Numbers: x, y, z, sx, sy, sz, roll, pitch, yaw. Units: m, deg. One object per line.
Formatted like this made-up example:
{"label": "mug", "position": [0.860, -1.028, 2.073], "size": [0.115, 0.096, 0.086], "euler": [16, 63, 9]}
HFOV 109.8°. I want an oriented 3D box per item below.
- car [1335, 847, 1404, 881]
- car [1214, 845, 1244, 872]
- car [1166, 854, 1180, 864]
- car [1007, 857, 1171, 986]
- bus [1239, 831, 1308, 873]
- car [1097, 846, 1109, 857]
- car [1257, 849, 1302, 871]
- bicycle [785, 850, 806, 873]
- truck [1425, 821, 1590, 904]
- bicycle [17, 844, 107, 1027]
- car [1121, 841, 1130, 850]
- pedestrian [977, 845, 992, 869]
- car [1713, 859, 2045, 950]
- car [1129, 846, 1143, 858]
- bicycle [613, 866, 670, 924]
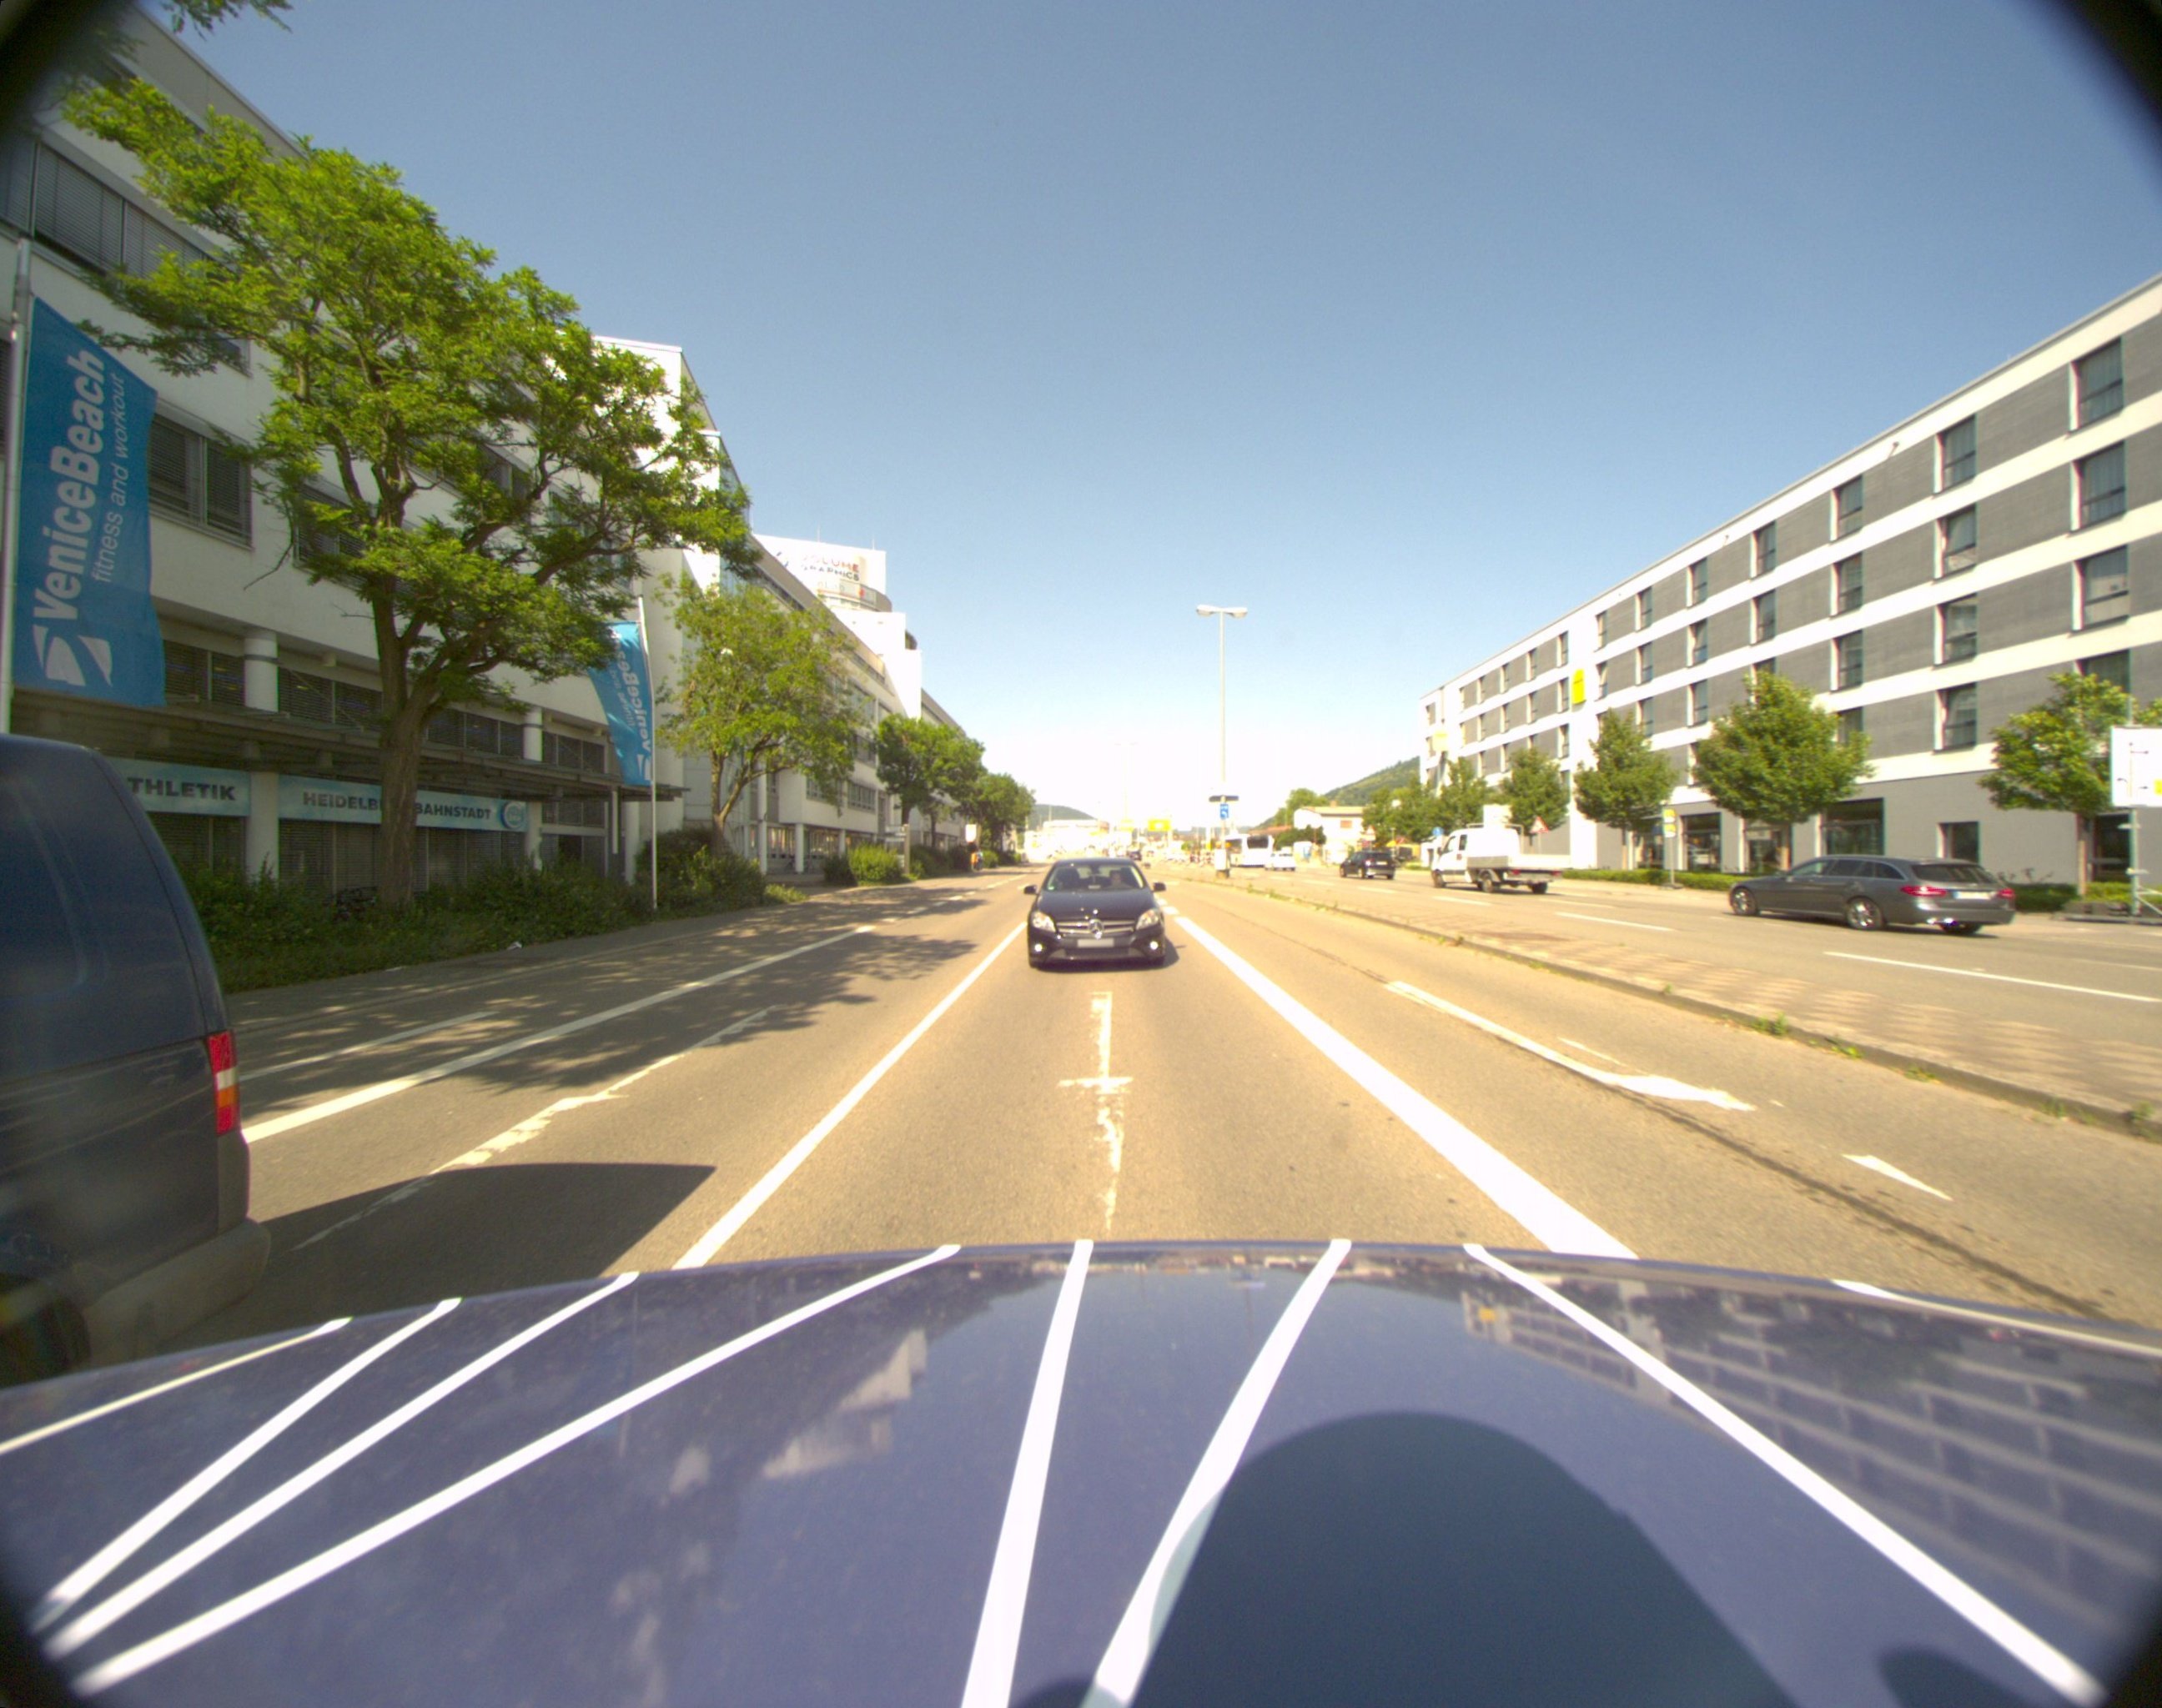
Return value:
{"label": "car", "position": [15.423, 0.494, 40.882], "size": [1.999, 1.569, 4.411], "euler": [-2, 2, 0]}
{"label": "car", "position": [12.105, 0.321, 62.300], "size": [1.679, 2.002, 4.164], "euler": [-2, 1, 2]}
{"label": "car", "position": [15.563, 0.877, 128.175], "size": [1.719, 1.609, 3.590], "euler": [-1, 1, -4]}
{"label": "car", "position": [0.163, 0.804, 11.214], "size": [1.905, 1.431, 4.693], "euler": [0, 1, 2]}
{"label": "bus", "position": [15.533, -0.251, 62.384], "size": [2.745, 3.061, 11.974], "euler": [1, 1, 1]}
{"label": "car", "position": [3.997, -0.471, 139.401], "size": [1.998, 2.002, 4.000], "euler": [-2, 1, 3]}
{"label": "car", "position": [15.277, 0.443, 58.731], "size": [1.999, 1.477, 4.410], "euler": [2, 1, -4]}
{"label": "bicycle", "position": [-16.849, 0.420, 44.875], "size": [0.506, 1.346, 1.884], "euler": [0, 1, 2]}
{"label": "truck", "position": [15.270, 0.143, 27.850], "size": [2.363, 2.531, 6.435], "euler": [4, 2, 2]}
{"label": "bicycle", "position": [-10.914, 0.811, 8.132], "size": [1.392, 1.835, 0.410], "euler": [0, 1, 31]}
{"label": "car", "position": [10.029, -1.886, 170.936], "size": [1.998, 2.002, 3.999], "euler": [-2, 1, 2]}
{"label": "pedestrian", "position": [-7.980, 0.245, 62.875], "size": [0.942, 1.876, 1.289], "euler": [2, 1, 2]}
{"label": "car", "position": [15.545, 0.873, 15.290], "size": [1.960, 1.419, 4.586], "euler": [2, 1, 3]}
{"label": "car", "position": [8.006, -0.303, 110.739], "size": [1.890, 1.608, 4.135], "euler": [0, 1, 3]}
{"label": "bicycle", "position": [-10.962, 0.991, 19.032], "size": [0.506, 1.321, 1.883], "euler": [0, 0, -6]}
